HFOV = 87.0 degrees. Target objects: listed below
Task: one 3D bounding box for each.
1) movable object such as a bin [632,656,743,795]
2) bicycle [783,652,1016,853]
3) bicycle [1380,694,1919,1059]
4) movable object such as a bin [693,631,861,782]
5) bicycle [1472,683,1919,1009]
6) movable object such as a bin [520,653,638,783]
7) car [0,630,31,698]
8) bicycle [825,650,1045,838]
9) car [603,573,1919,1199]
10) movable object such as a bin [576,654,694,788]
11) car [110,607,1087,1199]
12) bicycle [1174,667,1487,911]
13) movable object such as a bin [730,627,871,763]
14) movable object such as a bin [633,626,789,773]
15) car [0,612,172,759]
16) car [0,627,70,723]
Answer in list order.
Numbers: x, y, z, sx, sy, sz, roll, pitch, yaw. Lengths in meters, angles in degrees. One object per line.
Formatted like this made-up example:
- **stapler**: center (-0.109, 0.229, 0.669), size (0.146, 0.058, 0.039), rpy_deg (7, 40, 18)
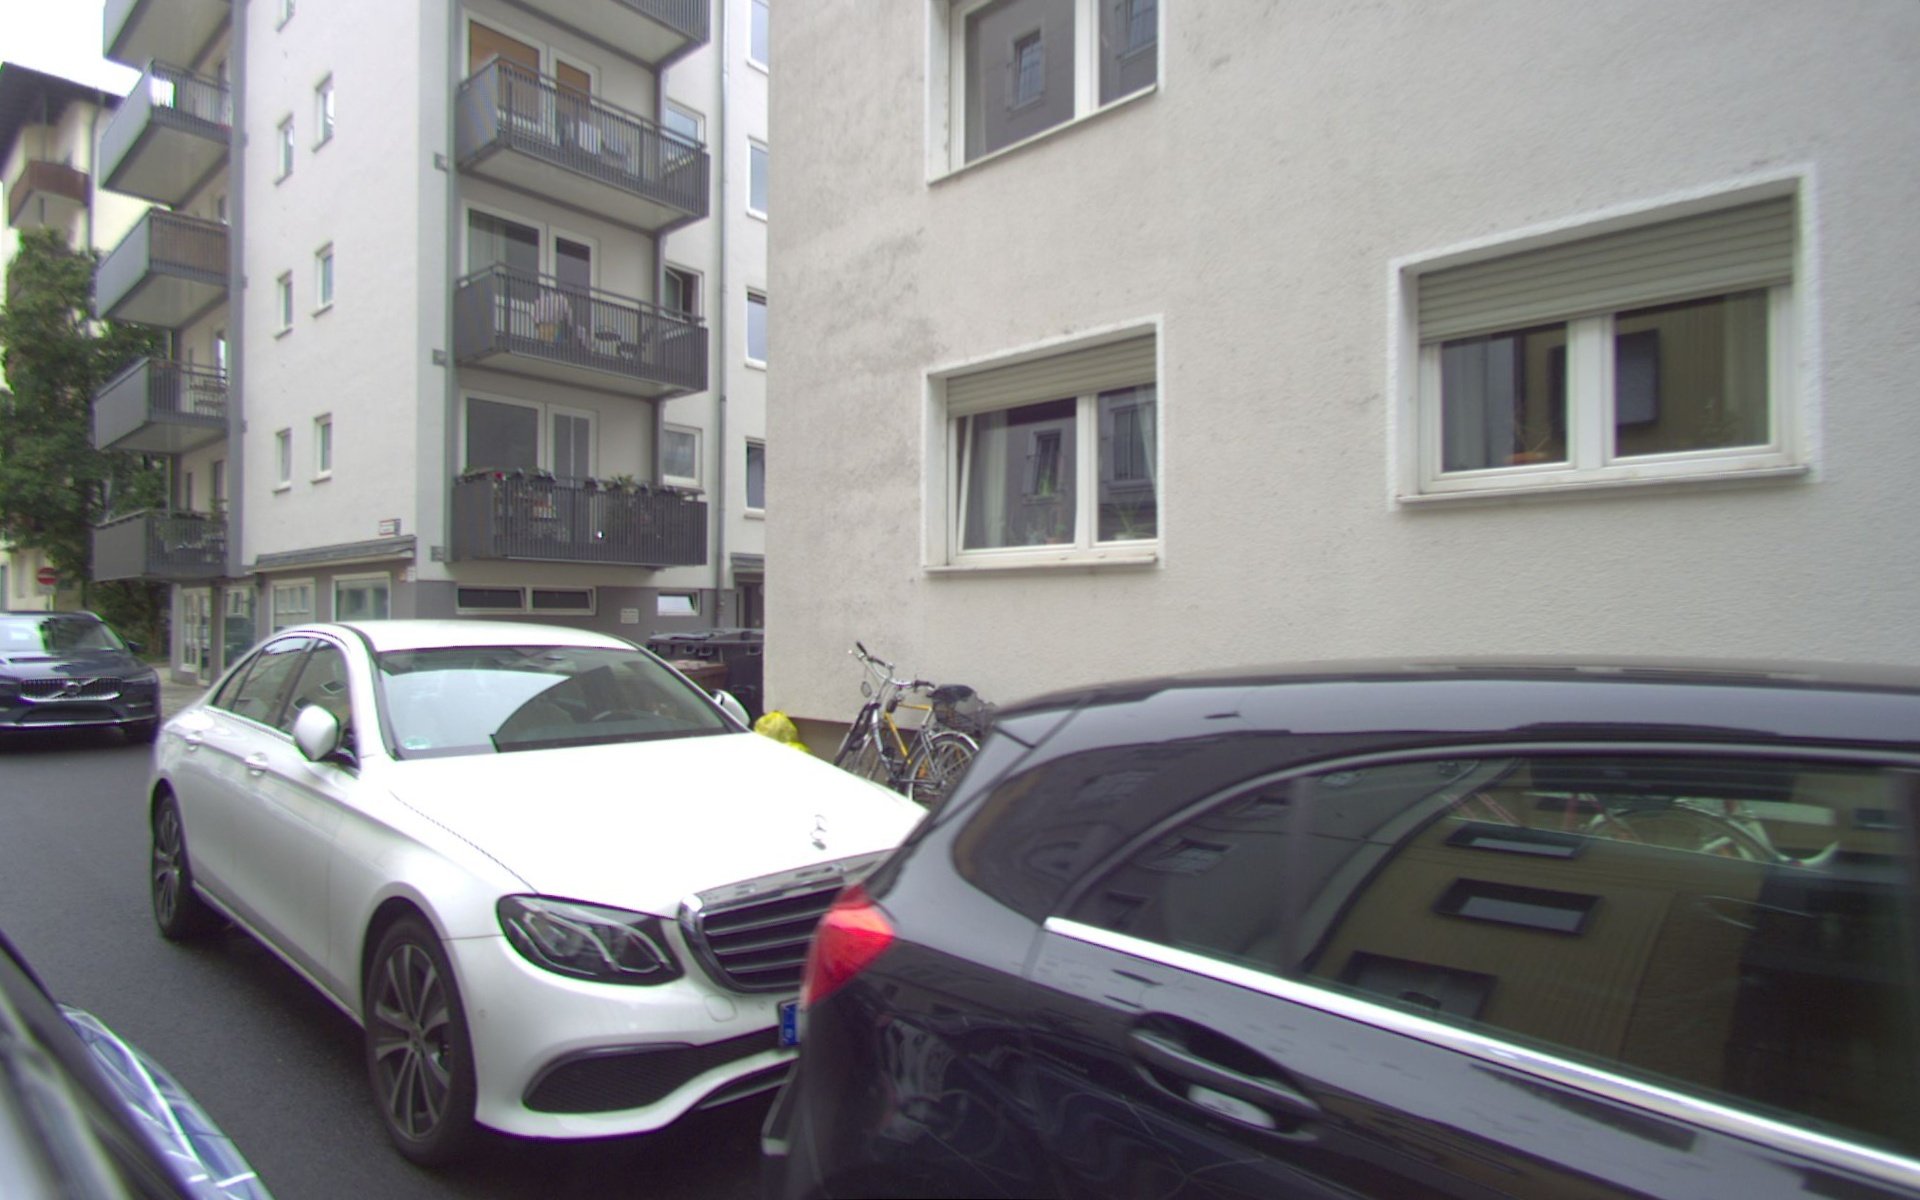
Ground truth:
- **movable object such as a bin**: center (-2.313, 1.037, 8.615), size (0.603, 1.084, 0.684), rpy_deg (-1, -2, 36)
- **bicycle**: center (-0.440, 0.941, 6.689), size (1.681, 1.147, 0.400), rpy_deg (-1, -2, 37)
- **bicycle**: center (2.466, 0.908, 3.776), size (1.623, 1.024, 0.383), rpy_deg (-1, -3, 41)
- **movable object such as a bin**: center (-1.703, 0.937, 9.451), size (1.097, 1.273, 1.108), rpy_deg (-1, -2, 42)
- **bicycle**: center (2.904, 0.873, 3.938), size (1.574, 1.024, 0.394), rpy_deg (-1, -3, 41)
- **movable object such as a bin**: center (-3.479, 1.044, 9.253), size (0.677, 1.084, 0.761), rpy_deg (-1, -2, 36)
- **car**: center (-22.053, 1.370, 22.215), size (4.294, 1.410, 1.946), rpy_deg (-1, -2, 41)
- **bicycle**: center (-0.215, 0.941, 7.033), size (1.681, 1.147, 0.338), rpy_deg (-1, -2, 37)
- **car**: center (1.611, 0.702, 0.992), size (4.222, 1.428, 1.783), rpy_deg (-1, -2, 39)
- **movable object such as a bin**: center (-2.862, 1.037, 8.938), size (0.634, 1.084, 0.761), rpy_deg (-1, -2, 36)
- **car**: center (-1.981, 0.789, 4.407), size (4.806, 1.448, 1.892), rpy_deg (-1, -2, 41)
- **bicycle**: center (1.801, 0.869, 5.073), size (1.441, 1.024, 0.375), rpy_deg (-1, -3, 42)
- **movable object such as a bin**: center (-1.770, 1.002, 11.253), size (1.153, 1.385, 1.078), rpy_deg (-1, -2, 42)
- **movable object such as a bin**: center (-2.511, 0.950, 10.223), size (1.103, 1.364, 1.099), rpy_deg (-1, -2, 42)
- **car**: center (-11.911, 0.979, 13.022), size (4.537, 1.619, 1.946), rpy_deg (-1, -2, 41)
- **car**: center (-16.420, 1.185, 16.876), size (4.294, 1.453, 1.794), rpy_deg (-1, -2, 41)
